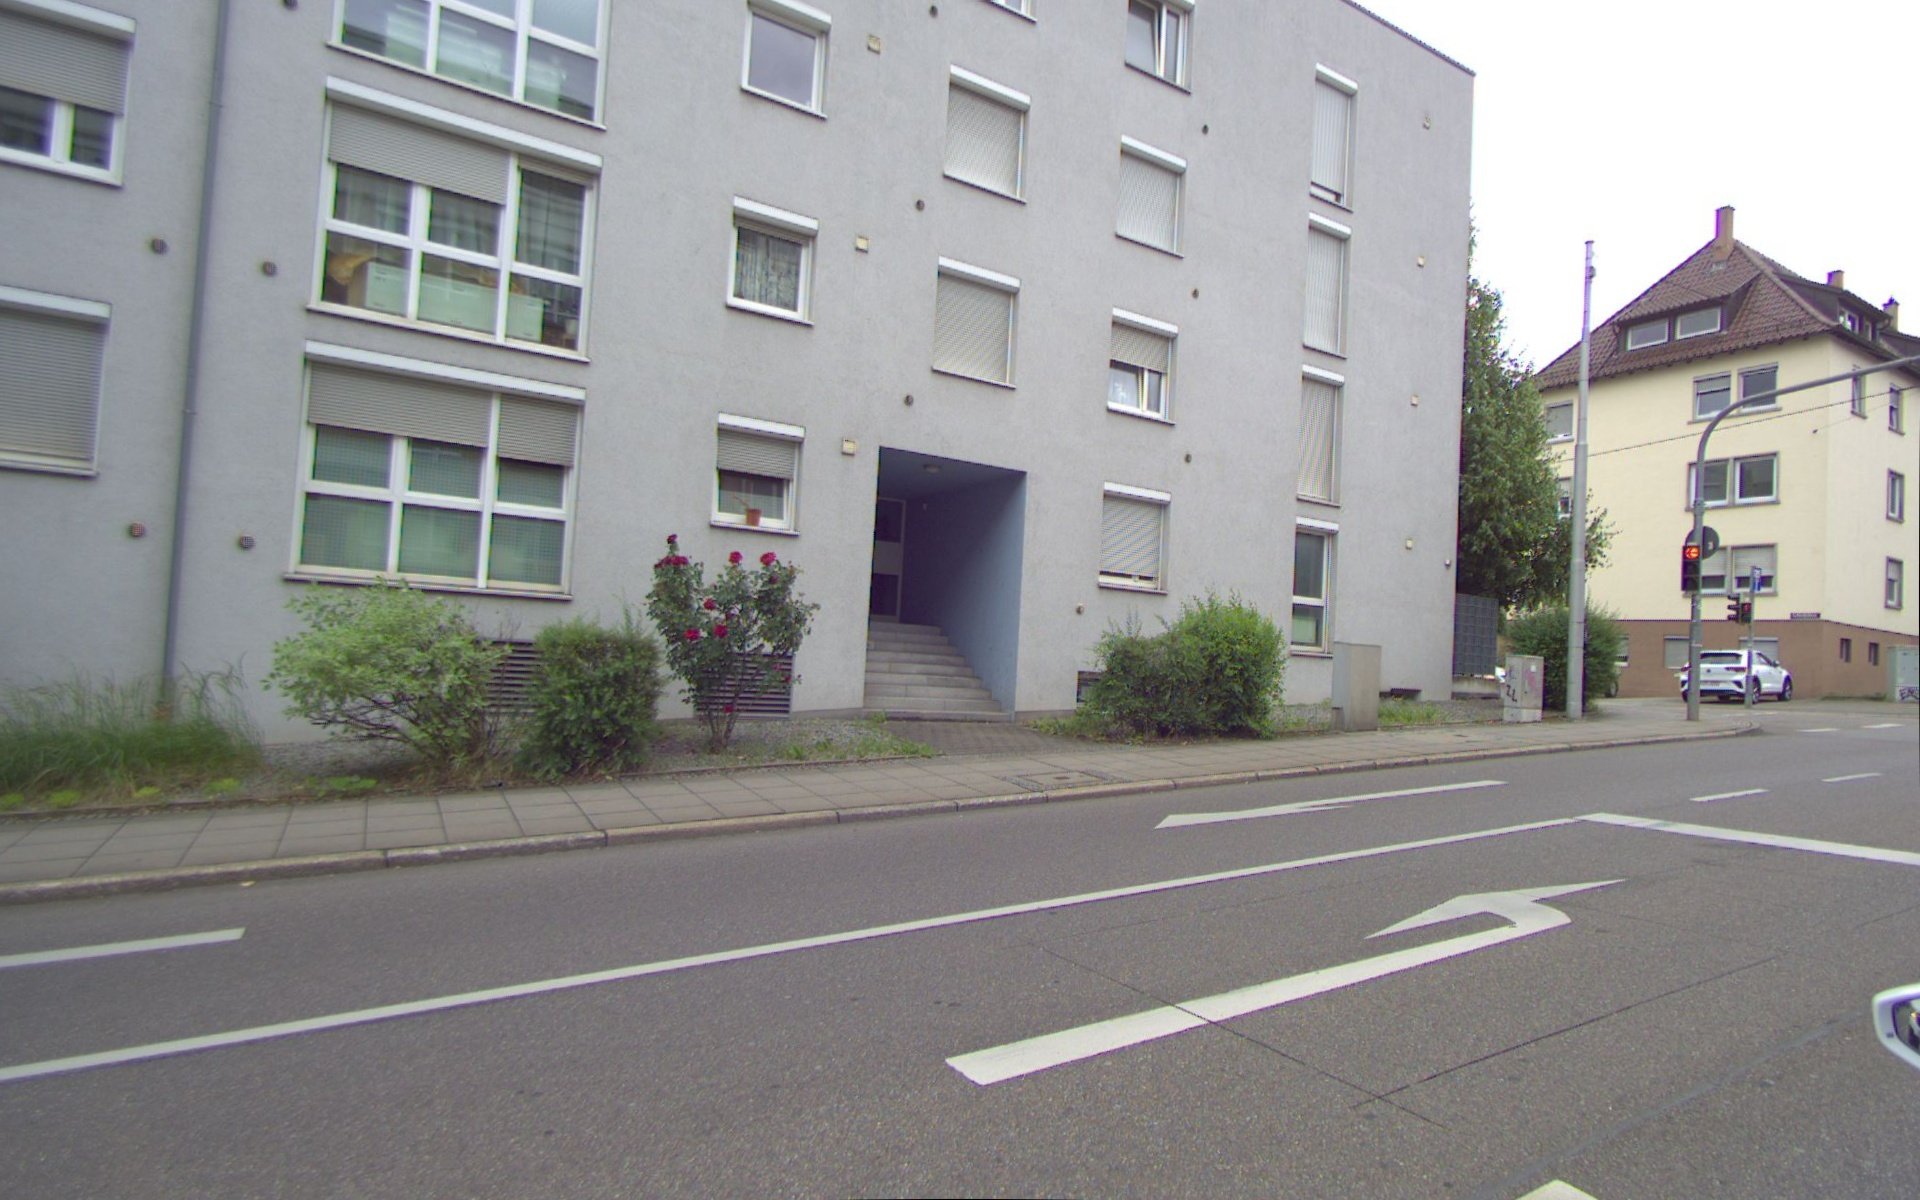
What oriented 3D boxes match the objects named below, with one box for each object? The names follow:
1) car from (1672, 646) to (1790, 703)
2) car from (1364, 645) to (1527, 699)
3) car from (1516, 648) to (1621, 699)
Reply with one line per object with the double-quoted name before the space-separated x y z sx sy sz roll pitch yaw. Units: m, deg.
"car" 23.048 2.196 30.001 3.727 1.575 1.681 1 -4 -34
"car" 14.070 2.051 29.329 1.677 1.411 4.034 2 -2 -31
"car" 20.934 2.482 34.536 3.727 1.629 1.681 1 -4 -34
